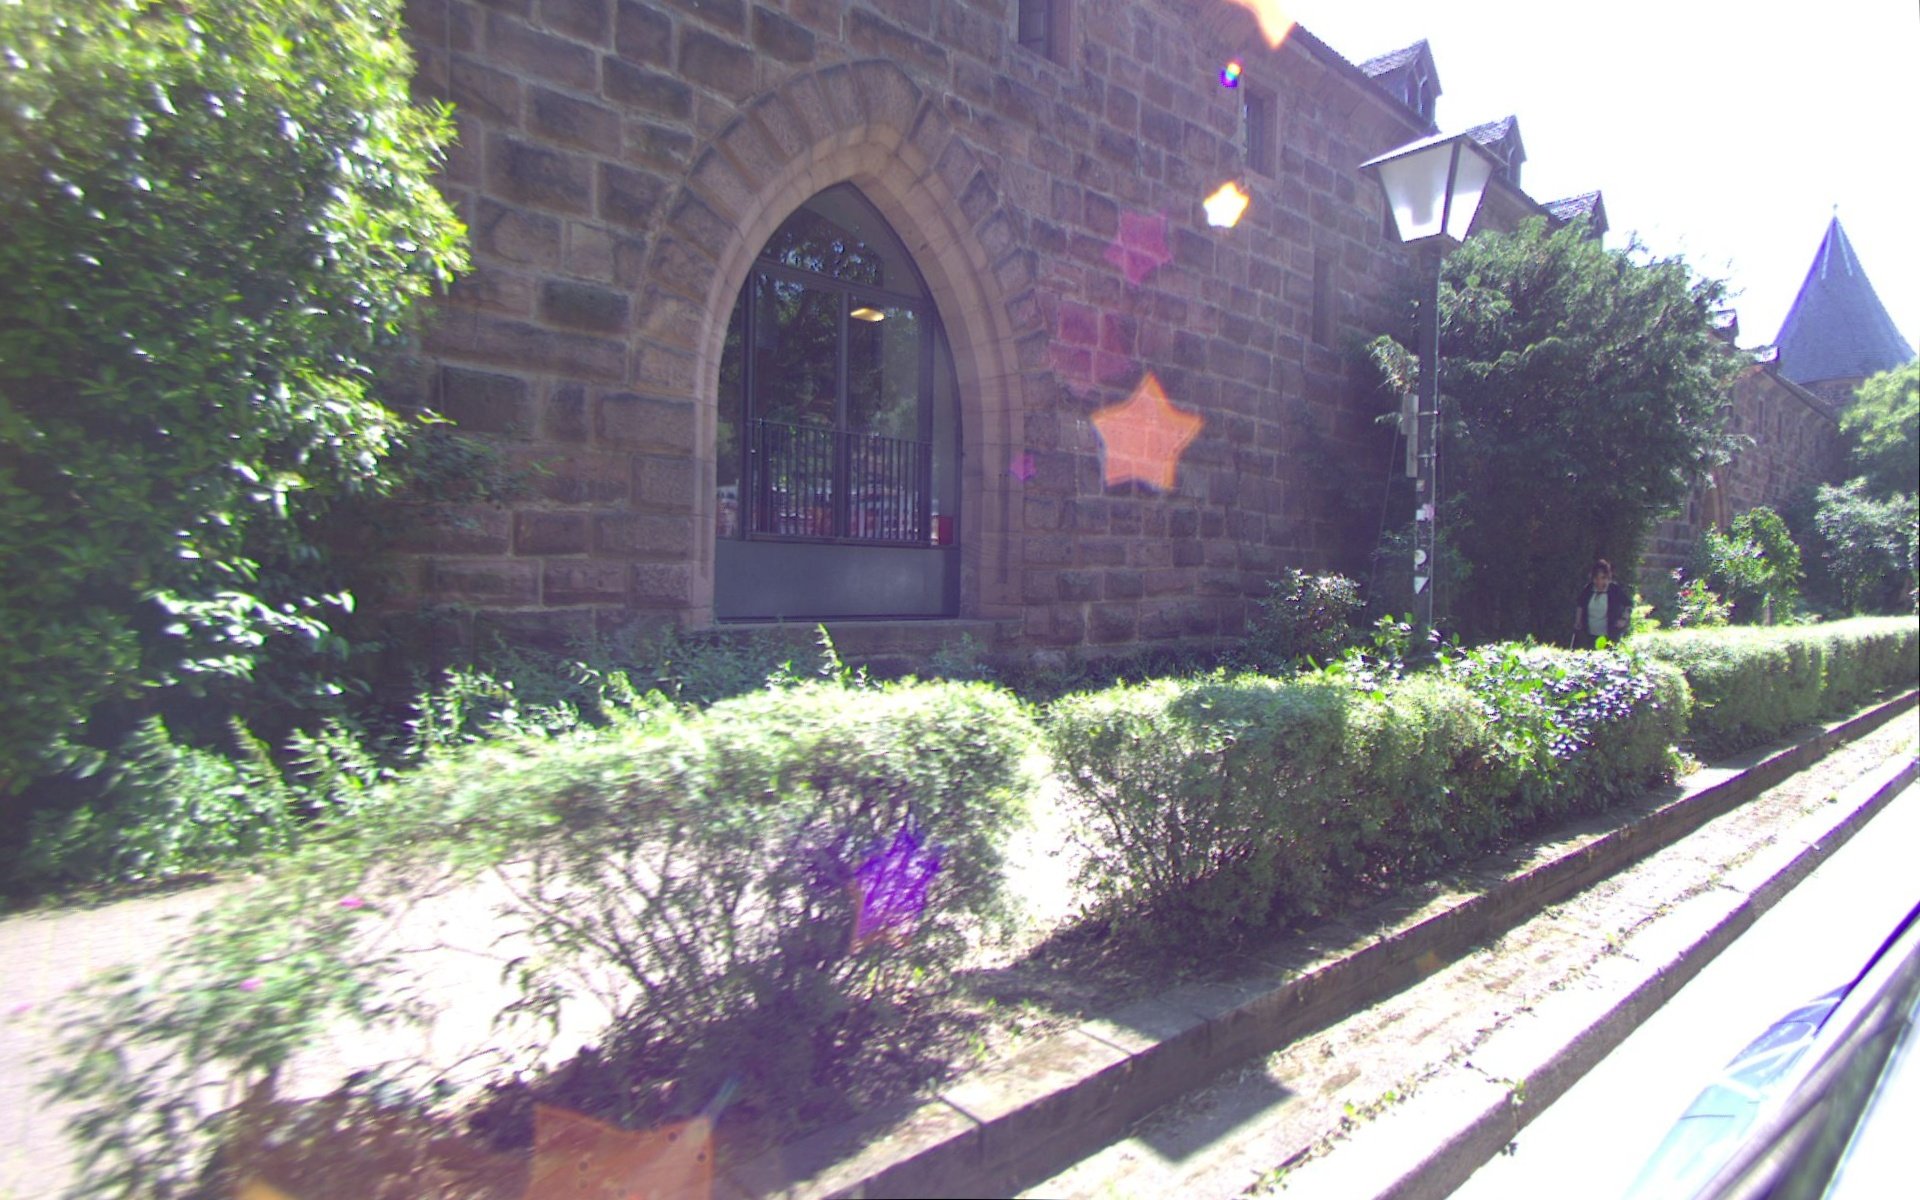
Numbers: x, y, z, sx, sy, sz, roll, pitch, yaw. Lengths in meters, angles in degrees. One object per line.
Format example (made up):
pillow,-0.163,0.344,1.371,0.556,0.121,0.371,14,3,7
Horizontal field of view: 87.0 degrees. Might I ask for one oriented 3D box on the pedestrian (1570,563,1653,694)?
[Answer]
pedestrian,8.713,0.358,13.539,0.692,1.673,0.700,0,2,-38
